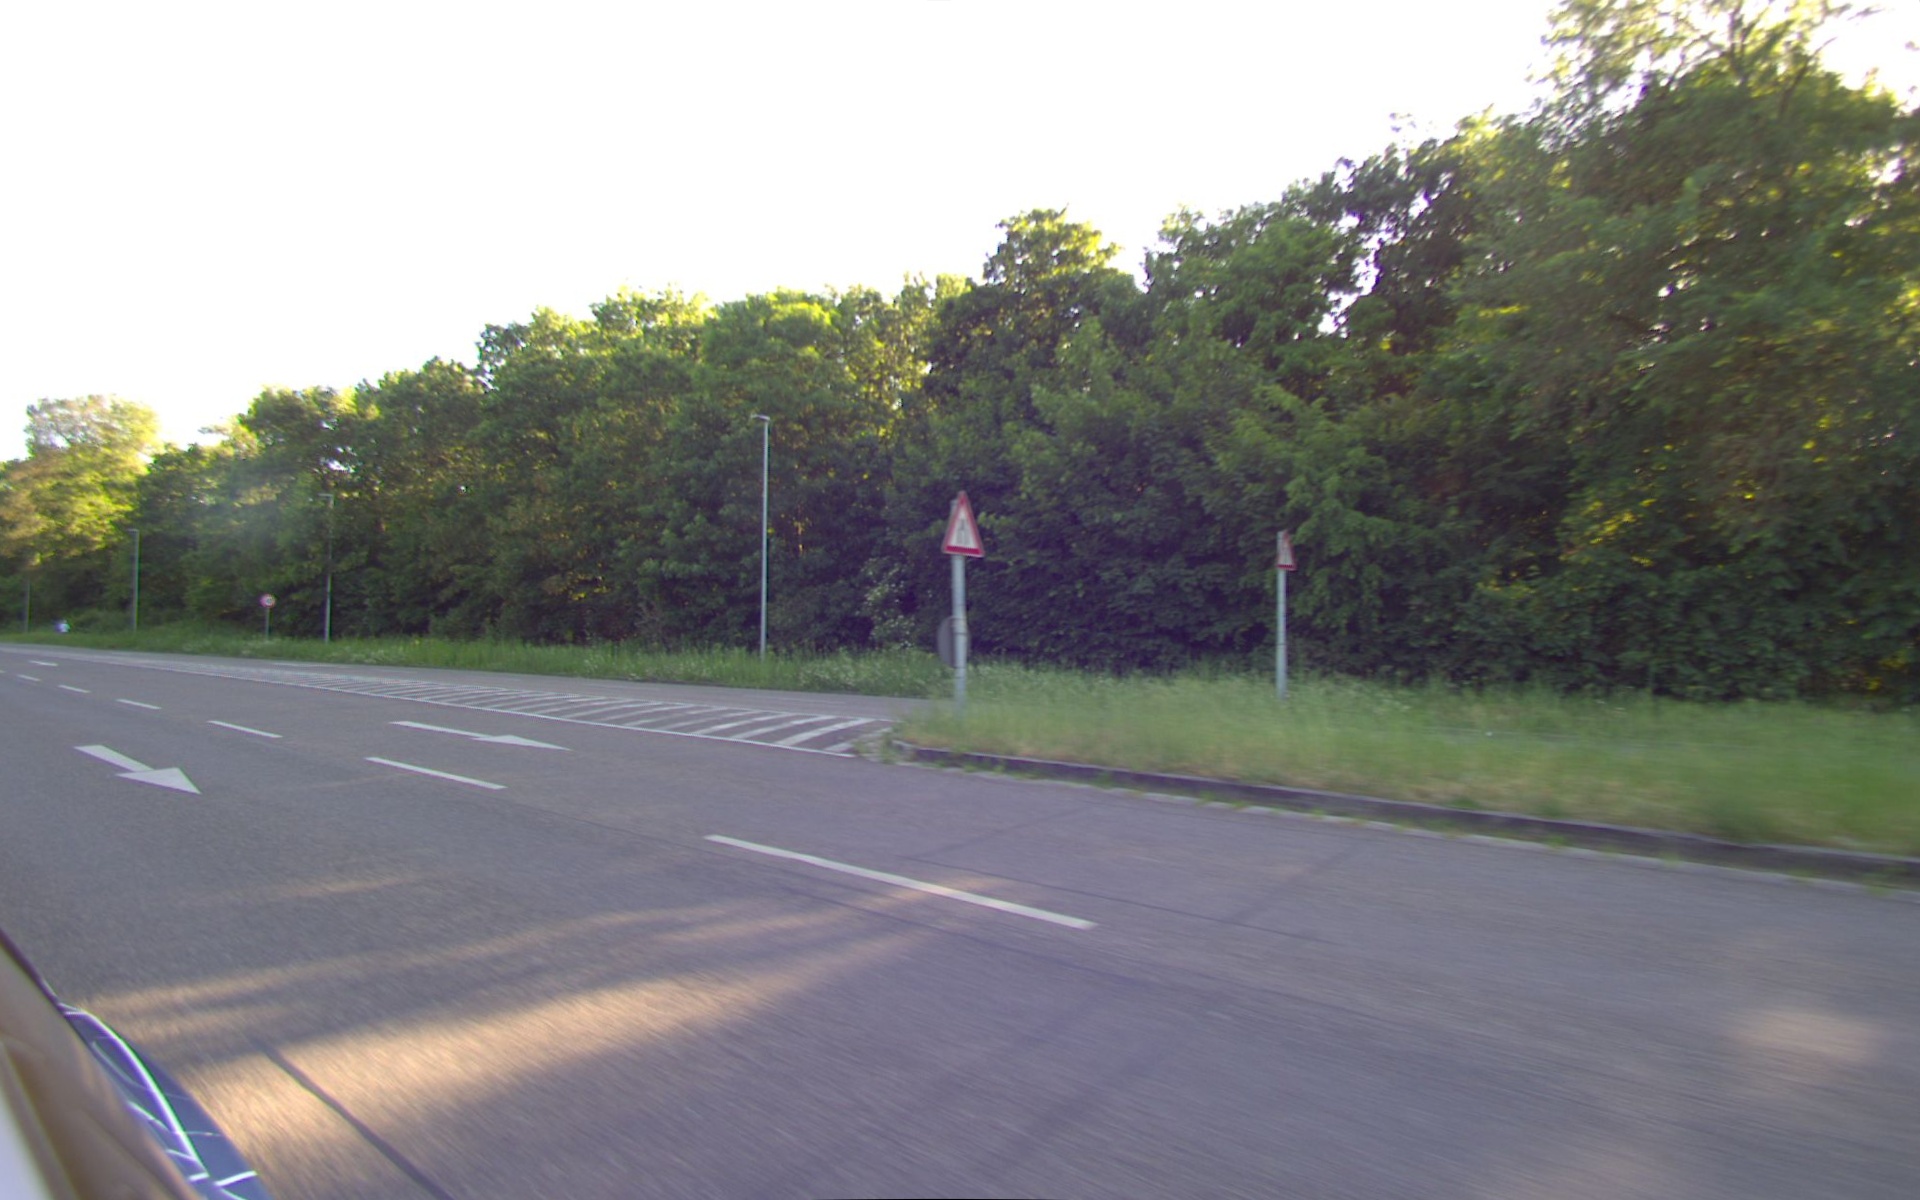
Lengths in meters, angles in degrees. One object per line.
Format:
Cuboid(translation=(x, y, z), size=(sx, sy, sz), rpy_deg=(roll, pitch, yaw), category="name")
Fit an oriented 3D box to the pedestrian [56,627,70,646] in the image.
Cuboid(translation=(-74.456, 3.020, 84.032), size=(0.825, 1.577, 0.704), rpy_deg=(-2, -4, 40), category="pedestrian")
